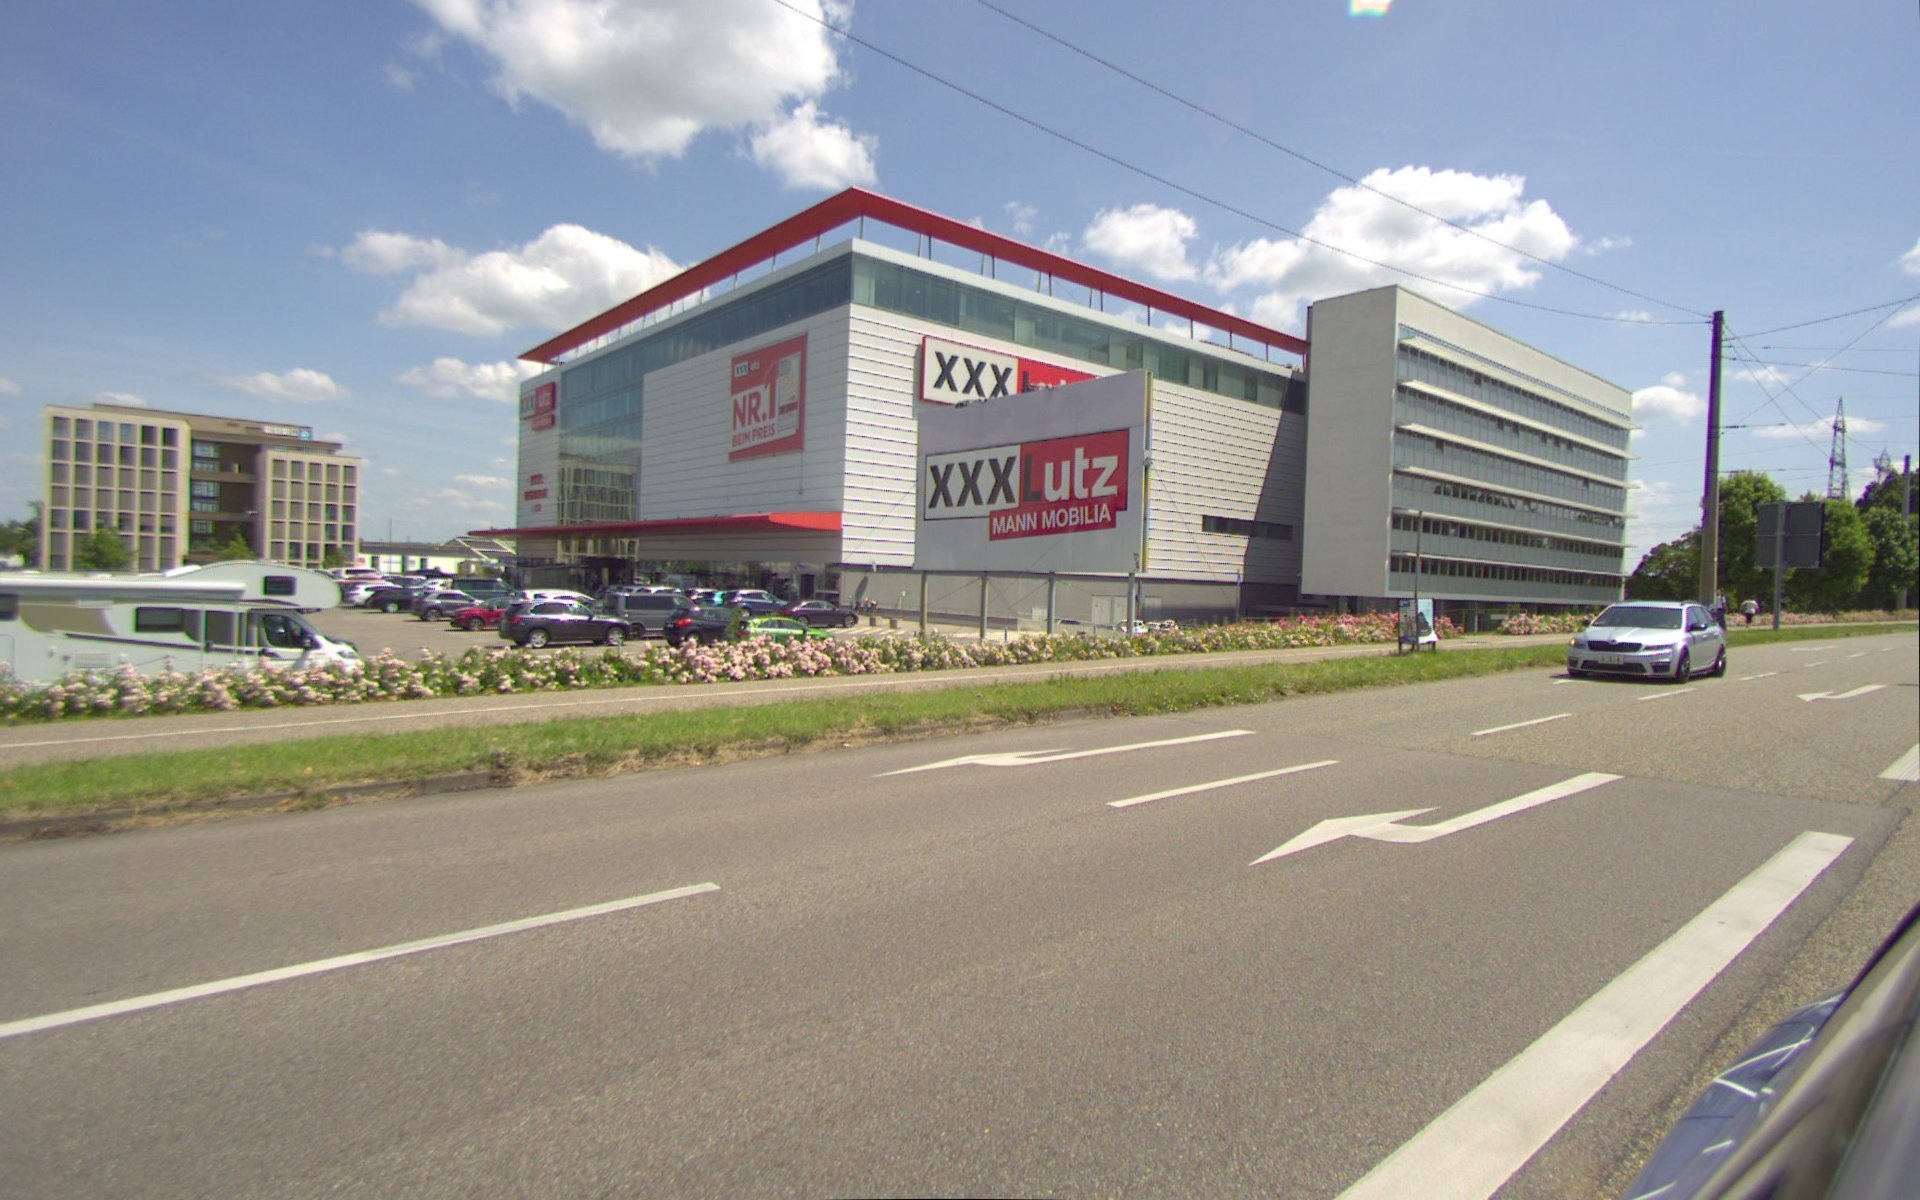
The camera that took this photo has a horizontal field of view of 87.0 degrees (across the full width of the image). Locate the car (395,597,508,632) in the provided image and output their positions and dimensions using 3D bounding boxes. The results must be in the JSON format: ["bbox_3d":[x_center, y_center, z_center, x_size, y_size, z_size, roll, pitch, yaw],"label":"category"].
[{"bbox_3d":[-22.465,0.613,44.771,4.178,1.430,1.859,-1,0,-38],"label":"car"}]

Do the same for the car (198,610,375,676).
[{"bbox_3d":[-18.863,1.136,28.398,3.930,1.638,1.997,0,0,-41],"label":"car"}]

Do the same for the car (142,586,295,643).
[{"bbox_3d":[-26.978,0.497,36.947,4.405,1.936,1.590,0,1,-38],"label":"car"}]

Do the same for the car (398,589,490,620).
[{"bbox_3d":[-26.173,0.217,51.403,3.928,1.545,1.649,0,0,-39],"label":"car"}]

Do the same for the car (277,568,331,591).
[{"bbox_3d":[-59.046,-1.837,91.078,3.926,2.039,1.999,0,0,-37],"label":"car"}]

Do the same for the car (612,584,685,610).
[{"bbox_3d":[-21.599,-0.211,70.269,4.441,1.714,1.997,0,0,-41],"label":"car"}]

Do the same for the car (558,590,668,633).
[{"bbox_3d":[-16.095,0.507,47.084,4.439,1.918,1.998,0,0,-39],"label":"car"}]

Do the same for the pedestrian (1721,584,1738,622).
[{"bbox_3d":[36.231,0.137,47.657,0.623,1.816,0.518,0,0,-41],"label":"pedestrian"}]

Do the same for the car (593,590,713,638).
[{"bbox_3d":[-12.945,0.536,42.833,4.439,1.918,1.998,0,0,-39],"label":"car"}]

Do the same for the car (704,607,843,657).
[{"bbox_3d":[-6.544,1.077,35.788,4.441,1.583,1.997,0,0,-41],"label":"car"}]

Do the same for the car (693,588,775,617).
[{"bbox_3d":[-13.652,0.140,61.145,4.439,1.714,1.998,0,0,-39],"label":"car"}]

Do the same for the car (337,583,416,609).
[{"bbox_3d":[-35.524,-0.258,61.677,3.929,1.546,1.692,0,0,-40],"label":"car"}]

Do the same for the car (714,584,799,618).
[{"bbox_3d":[-11.813,0.039,58.828,4.439,1.946,1.998,0,0,-39],"label":"car"}]

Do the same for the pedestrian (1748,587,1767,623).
[{"bbox_3d":[37.490,0.207,47.581,0.623,1.676,0.599,0,0,-41],"label":"pedestrian"}]

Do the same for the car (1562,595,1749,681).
[{"bbox_3d":[12.986,0.615,18.799,4.382,1.416,1.801,0,1,-41],"label":"car"}]

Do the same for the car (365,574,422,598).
[{"bbox_3d":[-48.960,-1.192,87.489,3.931,2.039,1.996,0,0,-42],"label":"car"}]

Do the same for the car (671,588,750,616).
[{"bbox_3d":[-15.857,0.120,64.399,4.441,1.714,1.997,0,0,-41],"label":"car"}]

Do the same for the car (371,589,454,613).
[{"bbox_3d":[-31.334,0.037,57.914,3.929,1.326,1.692,0,0,-40],"label":"car"}]

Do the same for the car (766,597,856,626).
[{"bbox_3d":[-7.652,0.541,52.189,4.441,1.418,1.697,0,0,-41],"label":"car"}]

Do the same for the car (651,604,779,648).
[{"bbox_3d":[-9.527,0.963,39.502,4.439,1.574,1.998,0,0,-39],"label":"car"}]

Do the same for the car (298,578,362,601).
[{"bbox_3d":[-49.352,-0.808,79.307,4.094,1.723,1.853,0,0,-38],"label":"car"}]

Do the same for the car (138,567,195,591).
[{"bbox_3d":[-69.497,-1.783,88.696,3.928,2.039,1.998,0,1,-39],"label":"car"}]

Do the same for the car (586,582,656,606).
[{"bbox_3d":[-24.689,-0.455,73.795,4.441,1.714,1.997,0,0,-41],"label":"car"}]

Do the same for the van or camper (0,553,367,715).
[{"bbox_3d":[-16.835,0.597,21.048,7.476,2.983,2.715,-1,0,-39],"label":"van or camper"}]

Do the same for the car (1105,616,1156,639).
[{"bbox_3d":[13.591,2.181,80.756,3.930,1.668,1.997,0,0,-41],"label":"car"}]

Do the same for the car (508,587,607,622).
[{"bbox_3d":[-20.966,0.223,52.820,4.439,1.756,1.998,0,0,-39],"label":"car"}]

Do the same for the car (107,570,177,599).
[{"bbox_3d":[-59.959,-1.119,74.237,3.928,2.039,1.544,0,0,-40],"label":"car"}]

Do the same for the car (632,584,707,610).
[{"bbox_3d":[-19.629,-0.192,68.438,4.441,1.714,1.997,0,0,-41],"label":"car"}]

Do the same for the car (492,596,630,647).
[{"bbox_3d":[-14.948,0.751,38.013,4.424,1.738,1.997,-1,0,-41],"label":"car"}]

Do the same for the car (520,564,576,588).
[{"bbox_3d":[-35.960,-2.066,88.382,4.209,2.039,1.849,-1,0,-39],"label":"car"}]

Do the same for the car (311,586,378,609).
[{"bbox_3d":[-44.462,-0.202,73.174,3.929,1.622,1.692,0,0,-40],"label":"car"}]

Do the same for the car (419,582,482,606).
[{"bbox_3d":[-35.778,-0.406,71.072,3.664,1.622,1.692,0,0,-40],"label":"car"}]

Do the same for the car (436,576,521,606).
[{"bbox_3d":[-29.714,-0.542,62.541,4.439,1.756,1.998,0,0,-39],"label":"car"}]

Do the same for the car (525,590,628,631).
[{"bbox_3d":[-19.151,0.491,50.641,4.439,1.918,1.998,0,0,-39],"label":"car"}]

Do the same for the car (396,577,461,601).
[{"bbox_3d":[-40.223,-0.814,76.671,4.095,1.723,1.853,0,0,-39],"label":"car"}]

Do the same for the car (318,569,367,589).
[{"bbox_3d":[-62.051,-2.094,101.645,3.930,2.039,1.997,0,0,-41],"label":"car"}]

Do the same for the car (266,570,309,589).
[{"bbox_3d":[-65.503,-1.980,98.594,3.319,1.828,1.701,0,0,-39],"label":"car"}]
